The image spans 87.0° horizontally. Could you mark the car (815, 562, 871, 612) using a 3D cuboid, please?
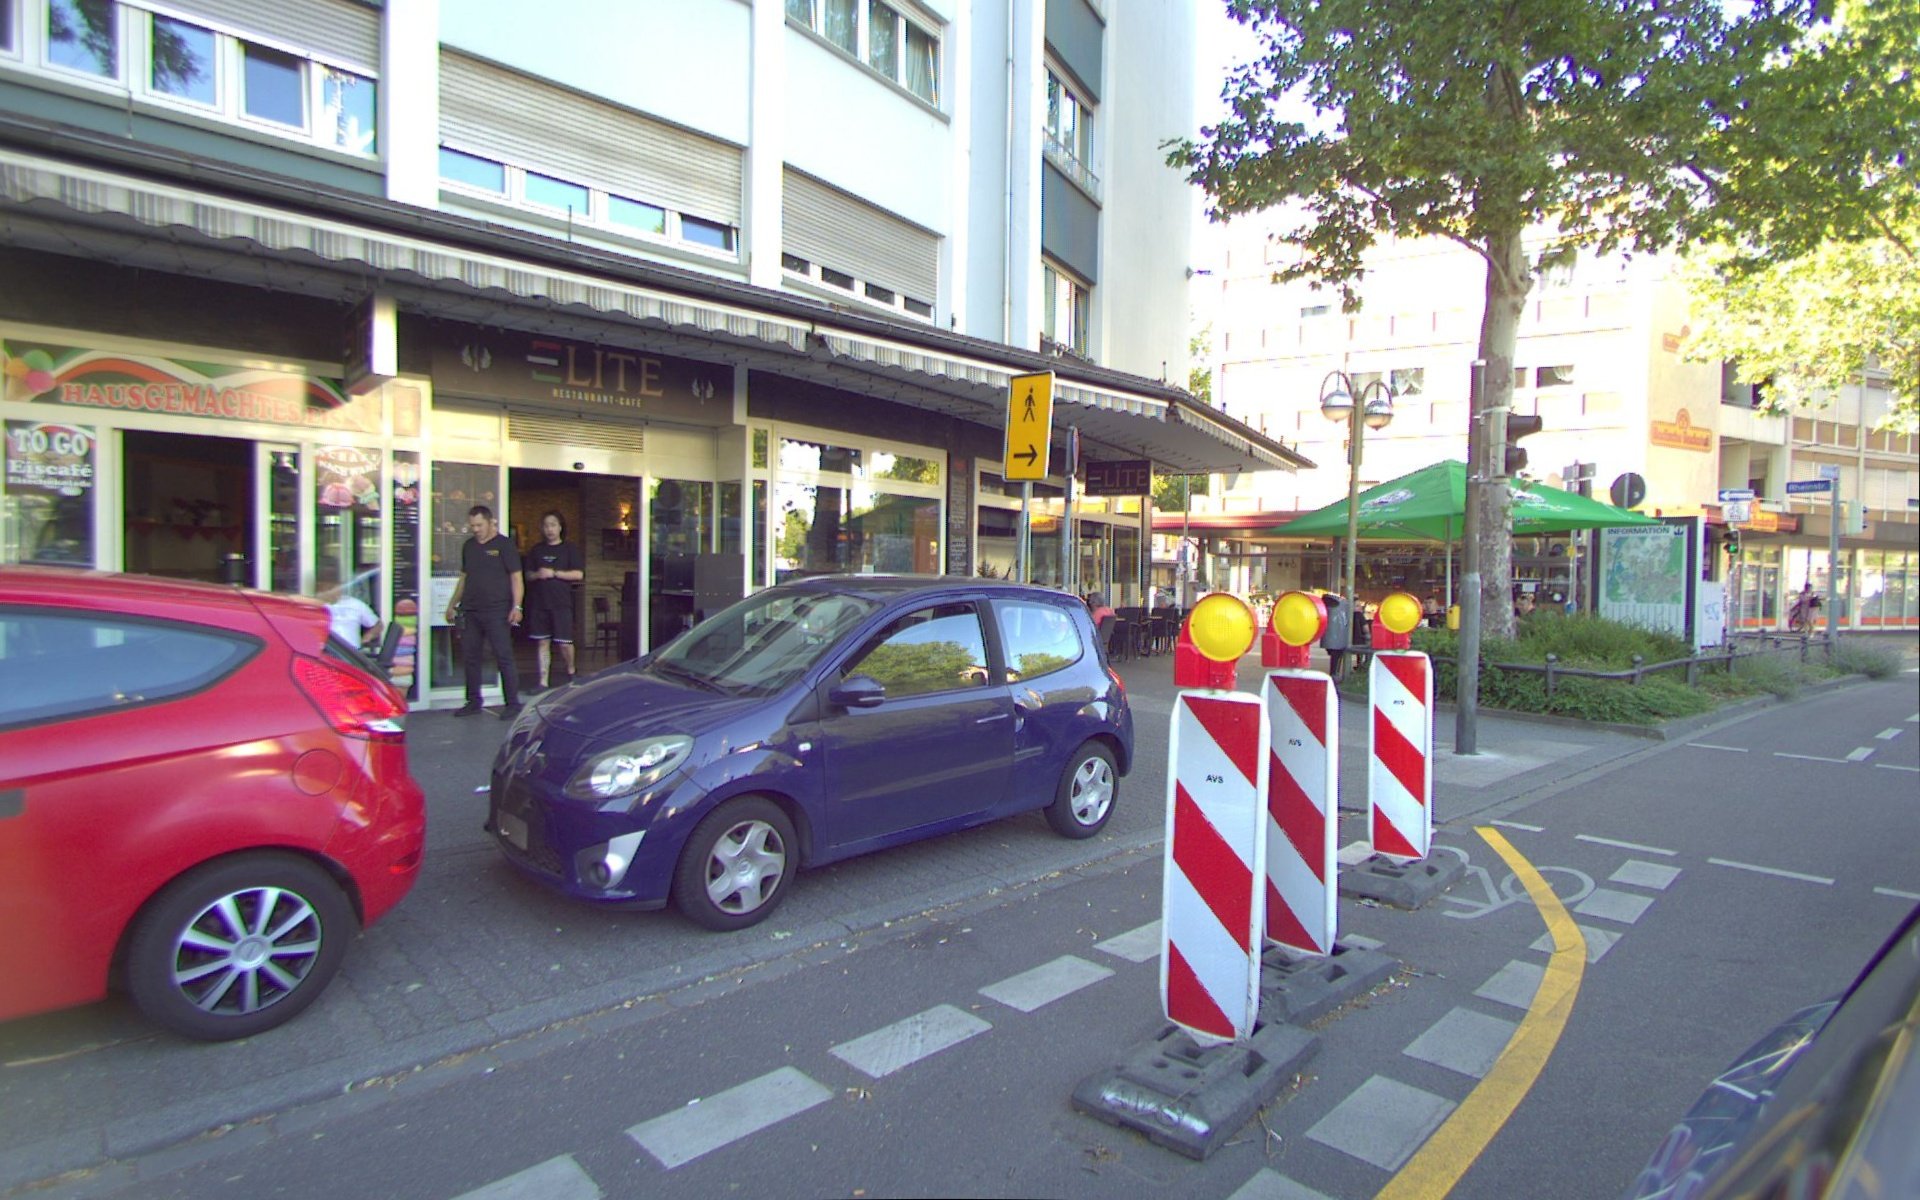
[{"bbox_3d":[-4.405,-0.511,38.538,1.960,1.771,4.004,1,1,-5],"label":"car"}]

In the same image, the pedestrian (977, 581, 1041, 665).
[{"bbox_3d":[0.715,0.319,14.661,0.710,1.144,0.645,3,1,25],"label":"pedestrian"}]

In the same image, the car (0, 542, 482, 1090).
[{"bbox_3d":[-3.631,0.562,2.856,1.667,1.446,3.786,5,4,44],"label":"car"}]

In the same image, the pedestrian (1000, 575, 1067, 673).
[{"bbox_3d":[1.005,0.312,13.757,0.644,1.267,0.711,3,1,25],"label":"pedestrian"}]

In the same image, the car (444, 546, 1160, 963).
[{"bbox_3d":[-0.646,0.528,5.519,3.545,1.484,1.621,0,4,-44],"label":"car"}]

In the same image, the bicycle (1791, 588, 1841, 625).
[{"bbox_3d":[28.137,0.209,33.259,1.933,1.157,0.530,0,1,-26],"label":"bicycle"}]

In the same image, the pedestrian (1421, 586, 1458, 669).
[{"bbox_3d":[7.468,0.415,15.775,0.427,1.234,0.465,3,2,20],"label":"pedestrian"}]

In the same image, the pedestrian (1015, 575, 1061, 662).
[{"bbox_3d":[1.178,0.272,15.282,0.541,1.259,0.521,2,1,-7],"label":"pedestrian"}]

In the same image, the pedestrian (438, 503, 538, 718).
[{"bbox_3d":[-4.034,0.068,8.645,0.579,1.756,0.596,1,3,-43],"label":"pedestrian"}]

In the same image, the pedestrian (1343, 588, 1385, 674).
[{"bbox_3d":[5.955,0.449,14.919,0.460,1.235,0.432,1,0,5],"label":"pedestrian"}]

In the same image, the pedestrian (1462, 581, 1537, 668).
[{"bbox_3d":[8.430,0.368,15.826,0.752,1.301,0.721,0,1,-27],"label":"pedestrian"}]

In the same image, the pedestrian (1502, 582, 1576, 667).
[{"bbox_3d":[9.281,0.377,16.228,0.753,1.301,0.720,0,1,-28],"label":"pedestrian"}]

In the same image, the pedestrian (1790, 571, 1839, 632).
[{"bbox_3d":[25.147,0.030,29.779,0.883,1.779,0.751,0,1,-24],"label":"pedestrian"}]

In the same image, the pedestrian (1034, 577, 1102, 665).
[{"bbox_3d":[1.599,0.295,14.922,0.664,1.233,0.706,3,1,43],"label":"pedestrian"}]

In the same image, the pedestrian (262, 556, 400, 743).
[{"bbox_3d":[-4.811,0.320,7.716,0.765,1.247,1.207,-1,5,-38],"label":"pedestrian"}]

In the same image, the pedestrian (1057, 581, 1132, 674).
[{"bbox_3d":[1.868,0.365,14.032,0.838,1.213,0.644,3,1,27],"label":"pedestrian"}]
